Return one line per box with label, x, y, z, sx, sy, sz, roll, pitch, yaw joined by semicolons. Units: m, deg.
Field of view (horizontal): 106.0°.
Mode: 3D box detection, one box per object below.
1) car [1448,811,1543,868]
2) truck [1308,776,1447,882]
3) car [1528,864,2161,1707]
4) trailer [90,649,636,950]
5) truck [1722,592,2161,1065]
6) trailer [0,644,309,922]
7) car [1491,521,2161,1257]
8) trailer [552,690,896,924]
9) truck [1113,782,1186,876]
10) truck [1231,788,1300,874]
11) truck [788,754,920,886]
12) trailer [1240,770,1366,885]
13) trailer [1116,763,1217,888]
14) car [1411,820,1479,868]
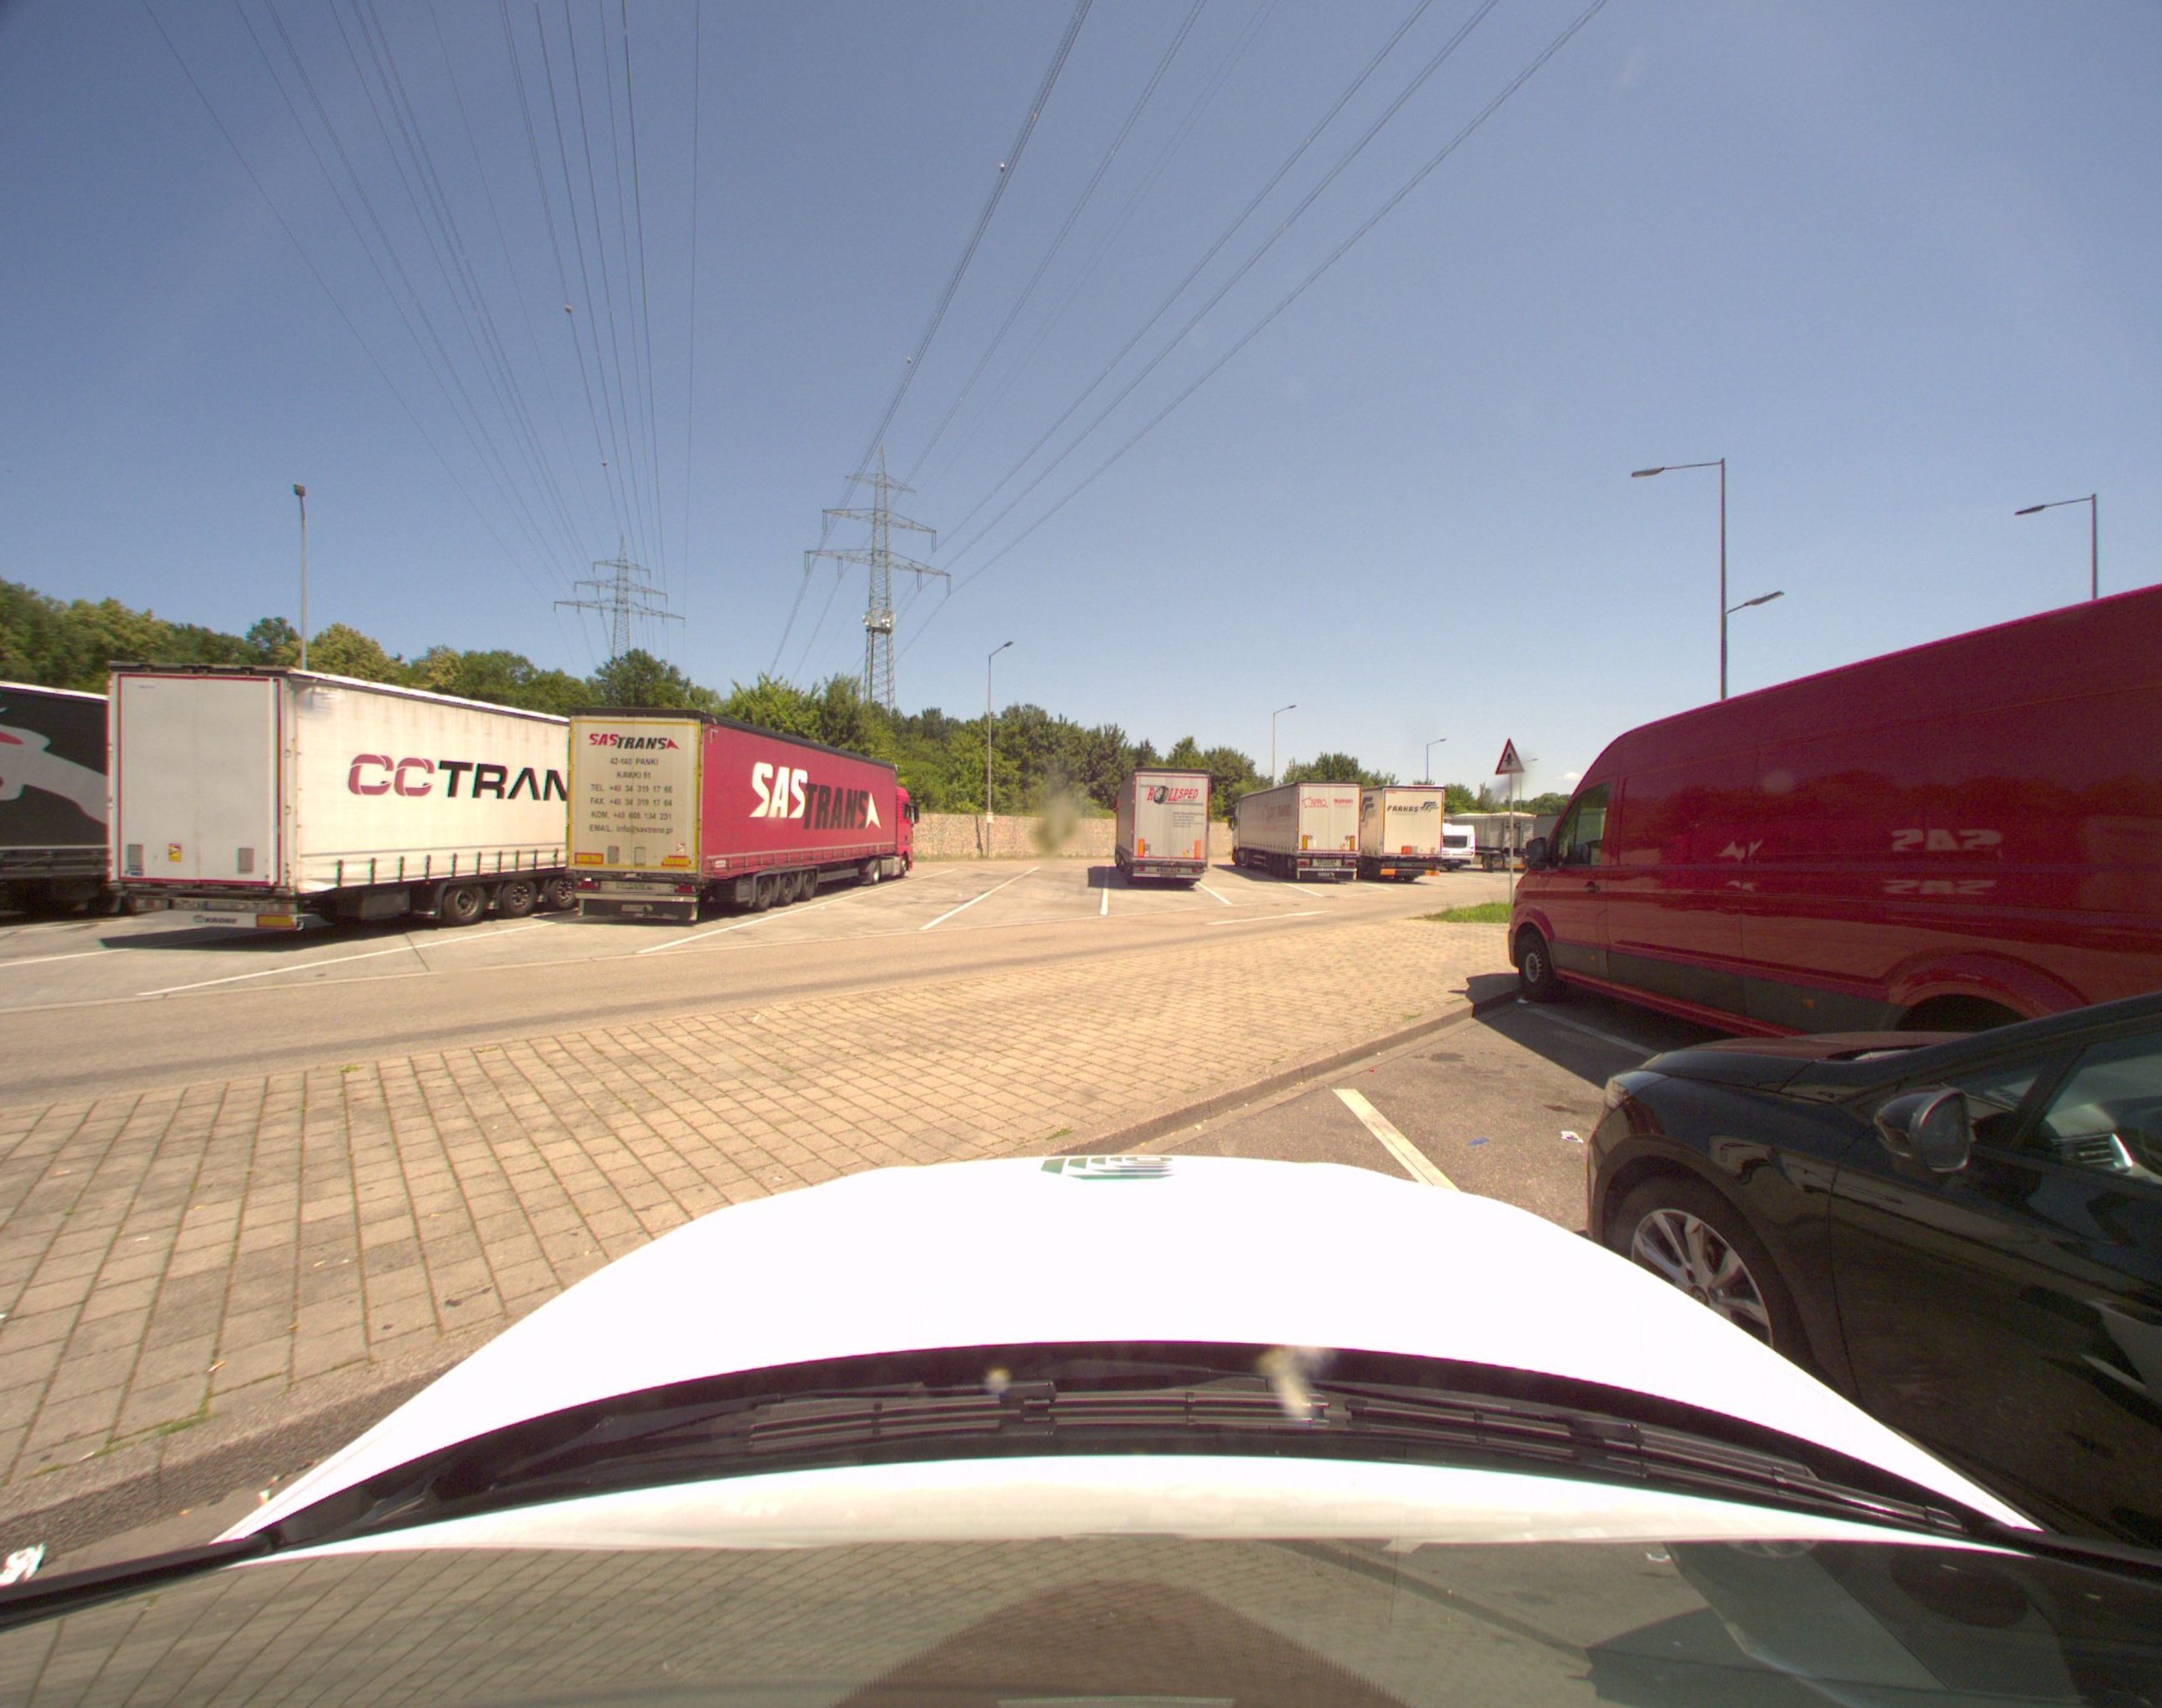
car;24.131;-0.821;47.741;2.490;3.074;6.353;-1;1;2
truck;13.529;-0.940;38.590;2.577;4.226;11.974;0;-1;2
car;2.521;0.753;0.956;1.773;1.457;3.680;0;-1;-5
trailer;-12.192;-0.810;15.400;2.744;4.152;8.291;0;1;2
truck;7.785;-0.149;5.995;2.508;2.827;4.821;0;-1;3
trailer;-18.565;-1.153;14.983;2.668;4.444;6.151;-1;1;2
car;5.117;0.079;5.529;1.984;2.633;6.393;-1;1;5
trailer;-8.006;-0.948;21.446;2.789;4.219;13.208;-1;1;2
truck;3.058;-1.090;37.767;2.862;3.980;6.029;-1;1;0
truck;10.068;-1.231;45.022;2.651;4.452;5.866;-1;1;2
truck;-7.756;-1.119;28.702;2.795;4.133;5.896;-1;1;2
trailer;9.898;-1.114;38.139;2.672;4.452;12.833;-1;1;1
trailer;3.024;-1.002;32.056;2.887;4.013;11.319;-1;1;1
car;20.533;-0.518;46.119;2.107;2.599;4.001;0;-1;2
